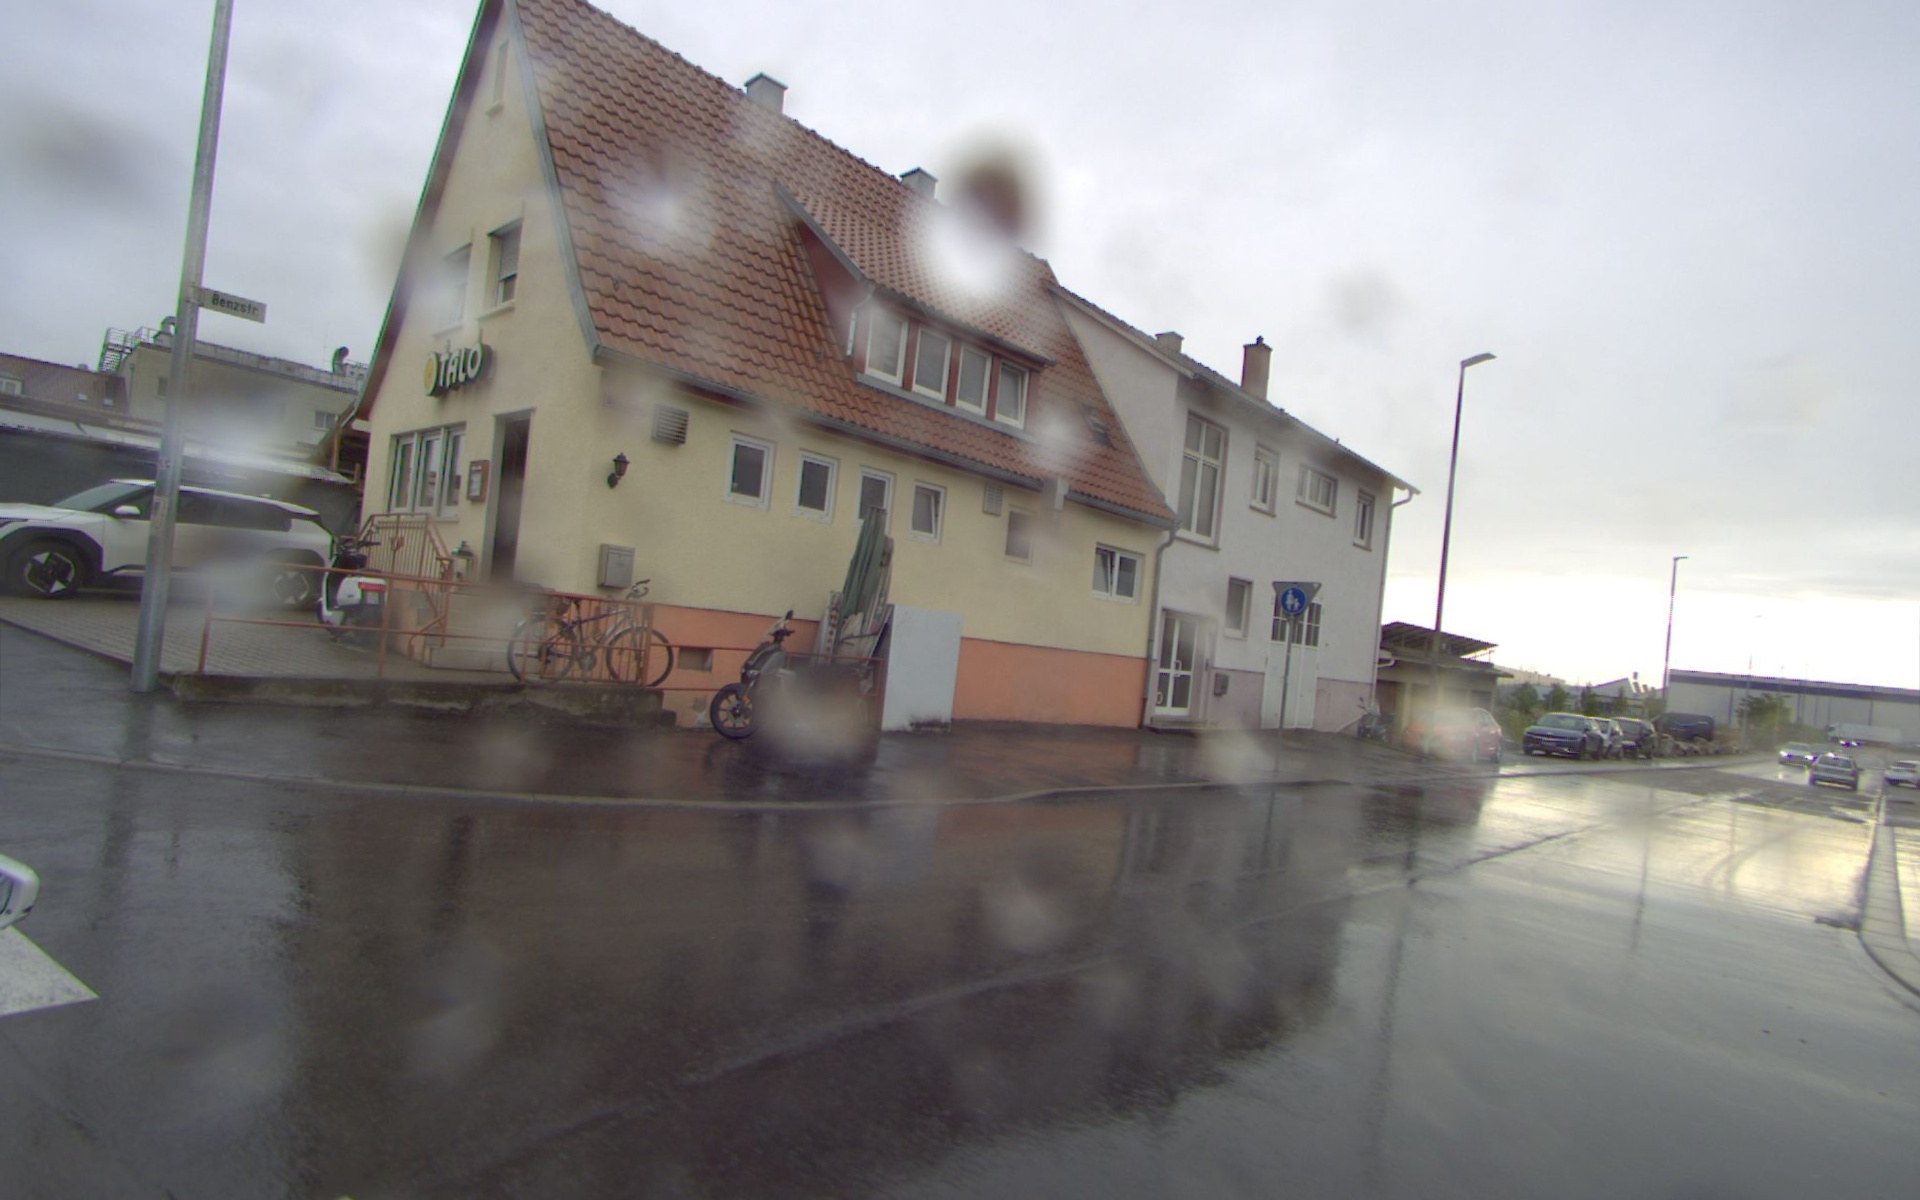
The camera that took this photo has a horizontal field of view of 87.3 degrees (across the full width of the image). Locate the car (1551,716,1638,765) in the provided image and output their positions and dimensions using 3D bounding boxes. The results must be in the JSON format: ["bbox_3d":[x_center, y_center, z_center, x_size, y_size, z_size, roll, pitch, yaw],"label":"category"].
[{"bbox_3d":[26.400,5.861,41.812,4.172,1.608,1.975,9,0,-44],"label":"car"}]

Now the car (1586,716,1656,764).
[{"bbox_3d":[30.190,6.387,45.916,1.973,1.803,3.982,5,-3,42],"label":"car"}]

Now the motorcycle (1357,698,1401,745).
[{"bbox_3d":[11.304,3.280,27.106,0.482,1.164,2.034,6,-2,37],"label":"motorcycle"}]

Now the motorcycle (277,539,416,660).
[{"bbox_3d":[-6.839,-0.030,11.172,1.969,1.109,0.488,7,-1,36],"label":"motorcycle"}]

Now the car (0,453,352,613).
[{"bbox_3d":[-10.818,-0.821,13.390,1.830,1.630,4.222,6,0,30],"label":"car"}]

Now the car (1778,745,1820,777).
[{"bbox_3d":[57.773,11.052,69.242,1.973,1.803,3.982,5,-3,42],"label":"car"}]

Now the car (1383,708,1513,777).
[{"bbox_3d":[13.055,3.745,26.798,1.972,1.393,4.241,7,-1,41],"label":"car"}]

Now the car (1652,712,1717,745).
[{"bbox_3d":[68.282,12.084,94.830,4.716,2.310,1.994,6,-4,39],"label":"car"}]

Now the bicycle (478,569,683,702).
[{"bbox_3d":[-3.760,0.386,10.093,1.766,1.108,0.483,10,-2,-45],"label":"bicycle"}]

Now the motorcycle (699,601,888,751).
[{"bbox_3d":[-1.784,0.880,11.114,0.483,1.473,2.029,6,-2,44],"label":"motorcycle"}]

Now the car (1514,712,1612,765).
[{"bbox_3d":[22.399,5.156,37.310,4.172,1.527,1.975,9,-1,-44],"label":"car"}]

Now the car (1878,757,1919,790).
[{"bbox_3d":[52.826,9.629,54.551,4.471,1.454,1.999,7,-2,-7],"label":"car"}]

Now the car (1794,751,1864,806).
[{"bbox_3d":[40.188,8.212,46.610,1.969,2.037,3.989,6,-2,36],"label":"car"}]
